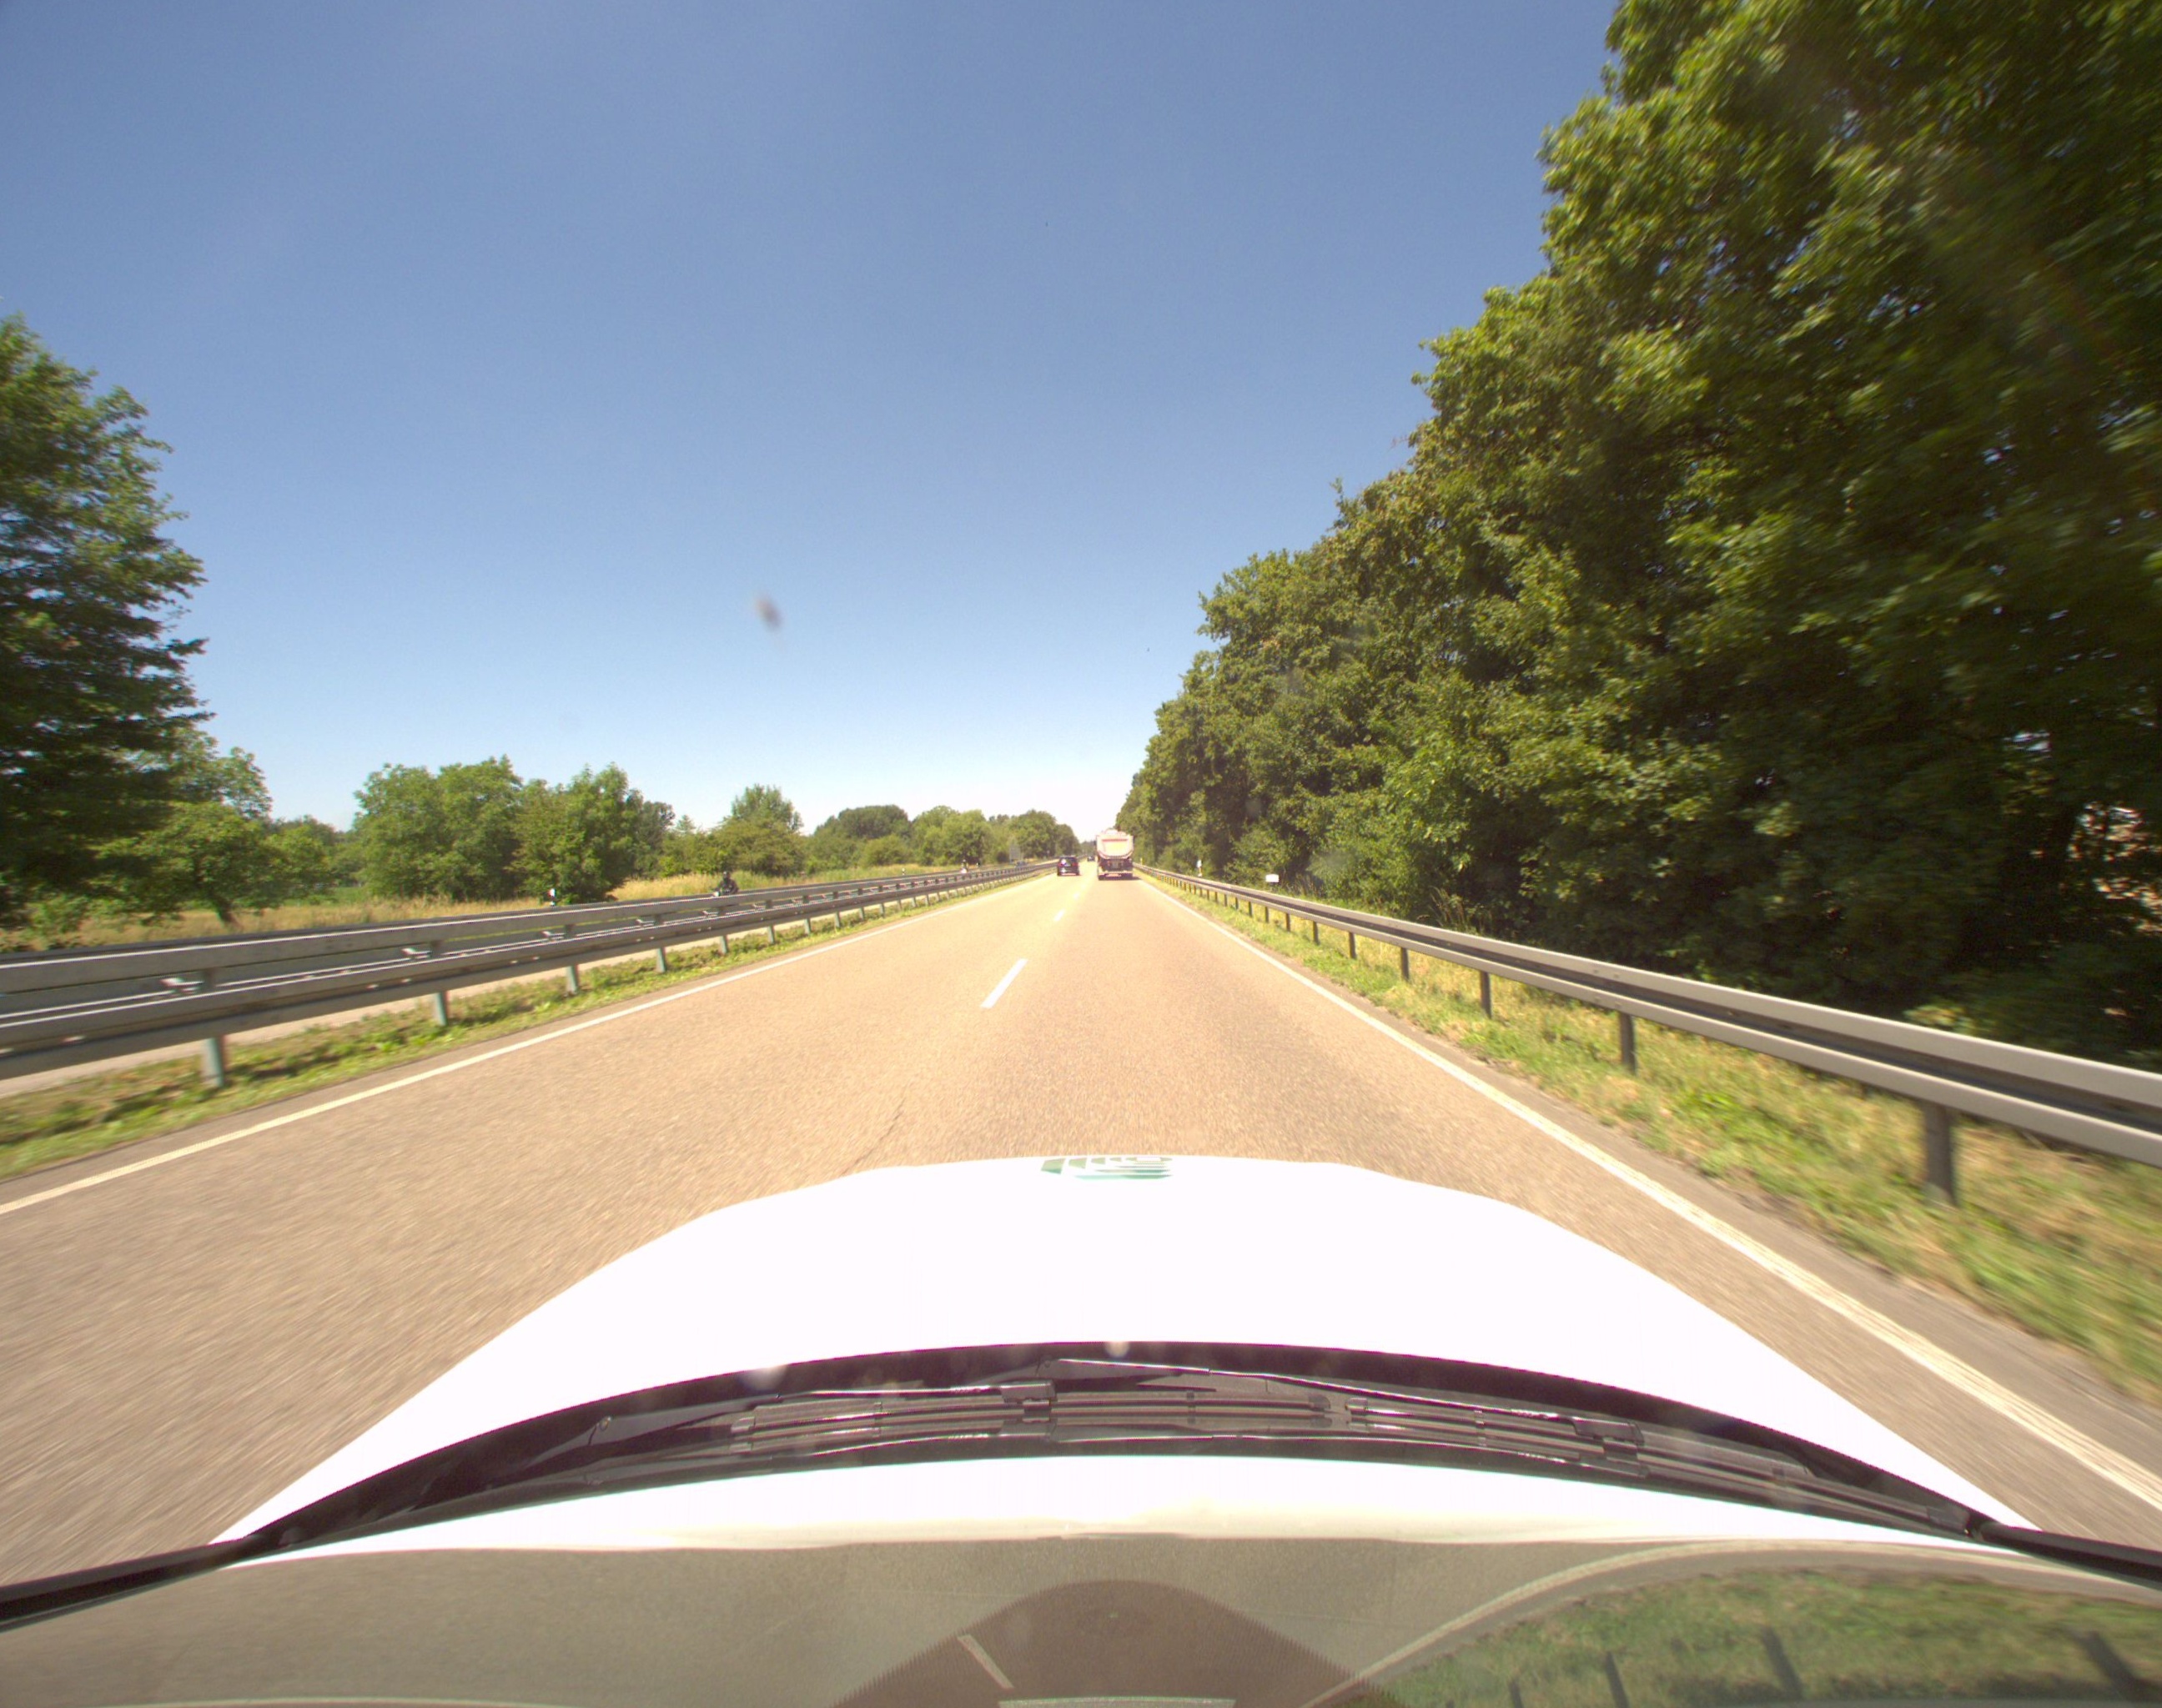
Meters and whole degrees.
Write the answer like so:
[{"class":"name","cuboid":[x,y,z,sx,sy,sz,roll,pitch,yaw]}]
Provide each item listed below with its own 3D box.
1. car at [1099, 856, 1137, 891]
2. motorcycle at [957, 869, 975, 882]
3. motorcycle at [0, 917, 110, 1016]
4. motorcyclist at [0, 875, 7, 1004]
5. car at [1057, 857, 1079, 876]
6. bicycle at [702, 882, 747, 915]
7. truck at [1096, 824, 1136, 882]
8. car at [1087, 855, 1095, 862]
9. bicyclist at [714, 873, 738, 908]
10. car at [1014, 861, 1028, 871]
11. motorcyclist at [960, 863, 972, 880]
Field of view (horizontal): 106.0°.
[{"class":"car","cuboid":[1.858,0.992,41.929,1.851,1.671,4.000,-1,-2,1]},{"class":"motorcycle","cuboid":[-10.954,2.012,77.646,1.059,1.064,3.819,-3,0,2]},{"class":"motorcycle","cuboid":[-12.763,1.328,9.041,0.724,1.064,2.667,-1,-1,2]},{"class":"motorcyclist","cuboid":[-12.737,0.982,8.981,0.715,1.482,0.810,-1,-1,2]},{"class":"car","cuboid":[-1.165,1.133,72.969,1.851,1.671,4.000,-1,-2,1]},{"class":"bicycle","cuboid":[-13.402,1.651,30.681,0.611,1.157,2.281,-1,-1,1]},{"class":"truck","cuboid":[2.518,-0.061,62.313,2.711,3.930,12.371,-1,0,1]},{"class":"car","cuboid":[2.317,1.042,186.732,1.851,1.718,4.000,-1,-2,1]},{"class":"bicyclist","cuboid":[-13.409,1.371,30.772,0.611,1.277,0.608,-1,-1,1]},{"class":"car","cuboid":[-8.268,1.683,112.477,1.622,1.332,3.536,-2,0,1]},{"class":"motorcyclist","cuboid":[-10.928,1.660,77.606,0.942,1.617,0.809,-3,-1,0]}]
